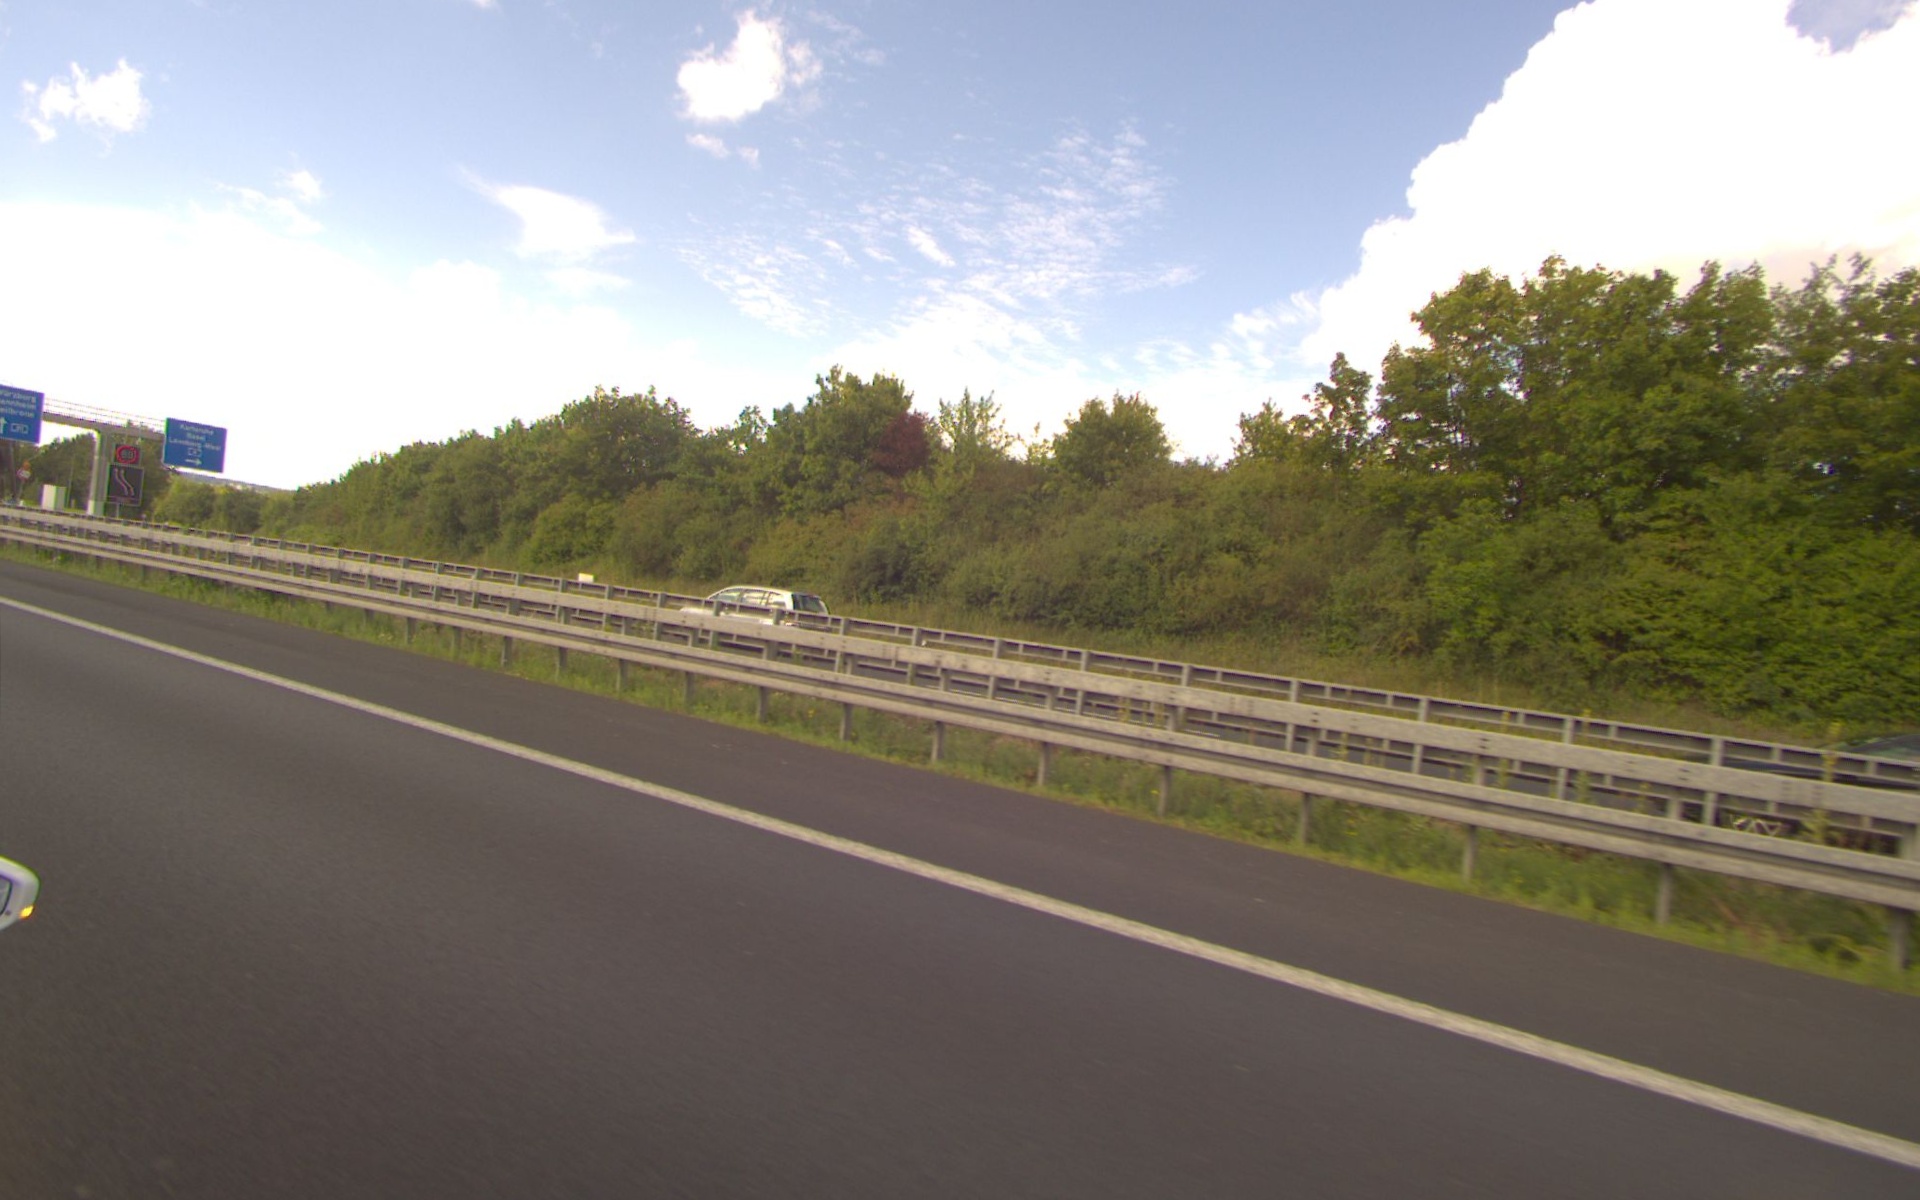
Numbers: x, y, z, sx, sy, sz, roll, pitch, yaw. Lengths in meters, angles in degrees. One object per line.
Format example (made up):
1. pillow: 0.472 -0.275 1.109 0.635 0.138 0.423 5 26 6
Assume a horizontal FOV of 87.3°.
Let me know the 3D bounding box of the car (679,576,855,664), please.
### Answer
1. car: -4.869 0.501 25.294 3.934 1.730 1.995 6 1 32

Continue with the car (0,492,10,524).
1. car: -54.630 -5.272 55.653 3.934 1.739 1.995 6 1 32

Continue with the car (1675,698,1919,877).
1. car: 10.232 2.085 10.737 3.933 1.502 1.996 6 0 31
